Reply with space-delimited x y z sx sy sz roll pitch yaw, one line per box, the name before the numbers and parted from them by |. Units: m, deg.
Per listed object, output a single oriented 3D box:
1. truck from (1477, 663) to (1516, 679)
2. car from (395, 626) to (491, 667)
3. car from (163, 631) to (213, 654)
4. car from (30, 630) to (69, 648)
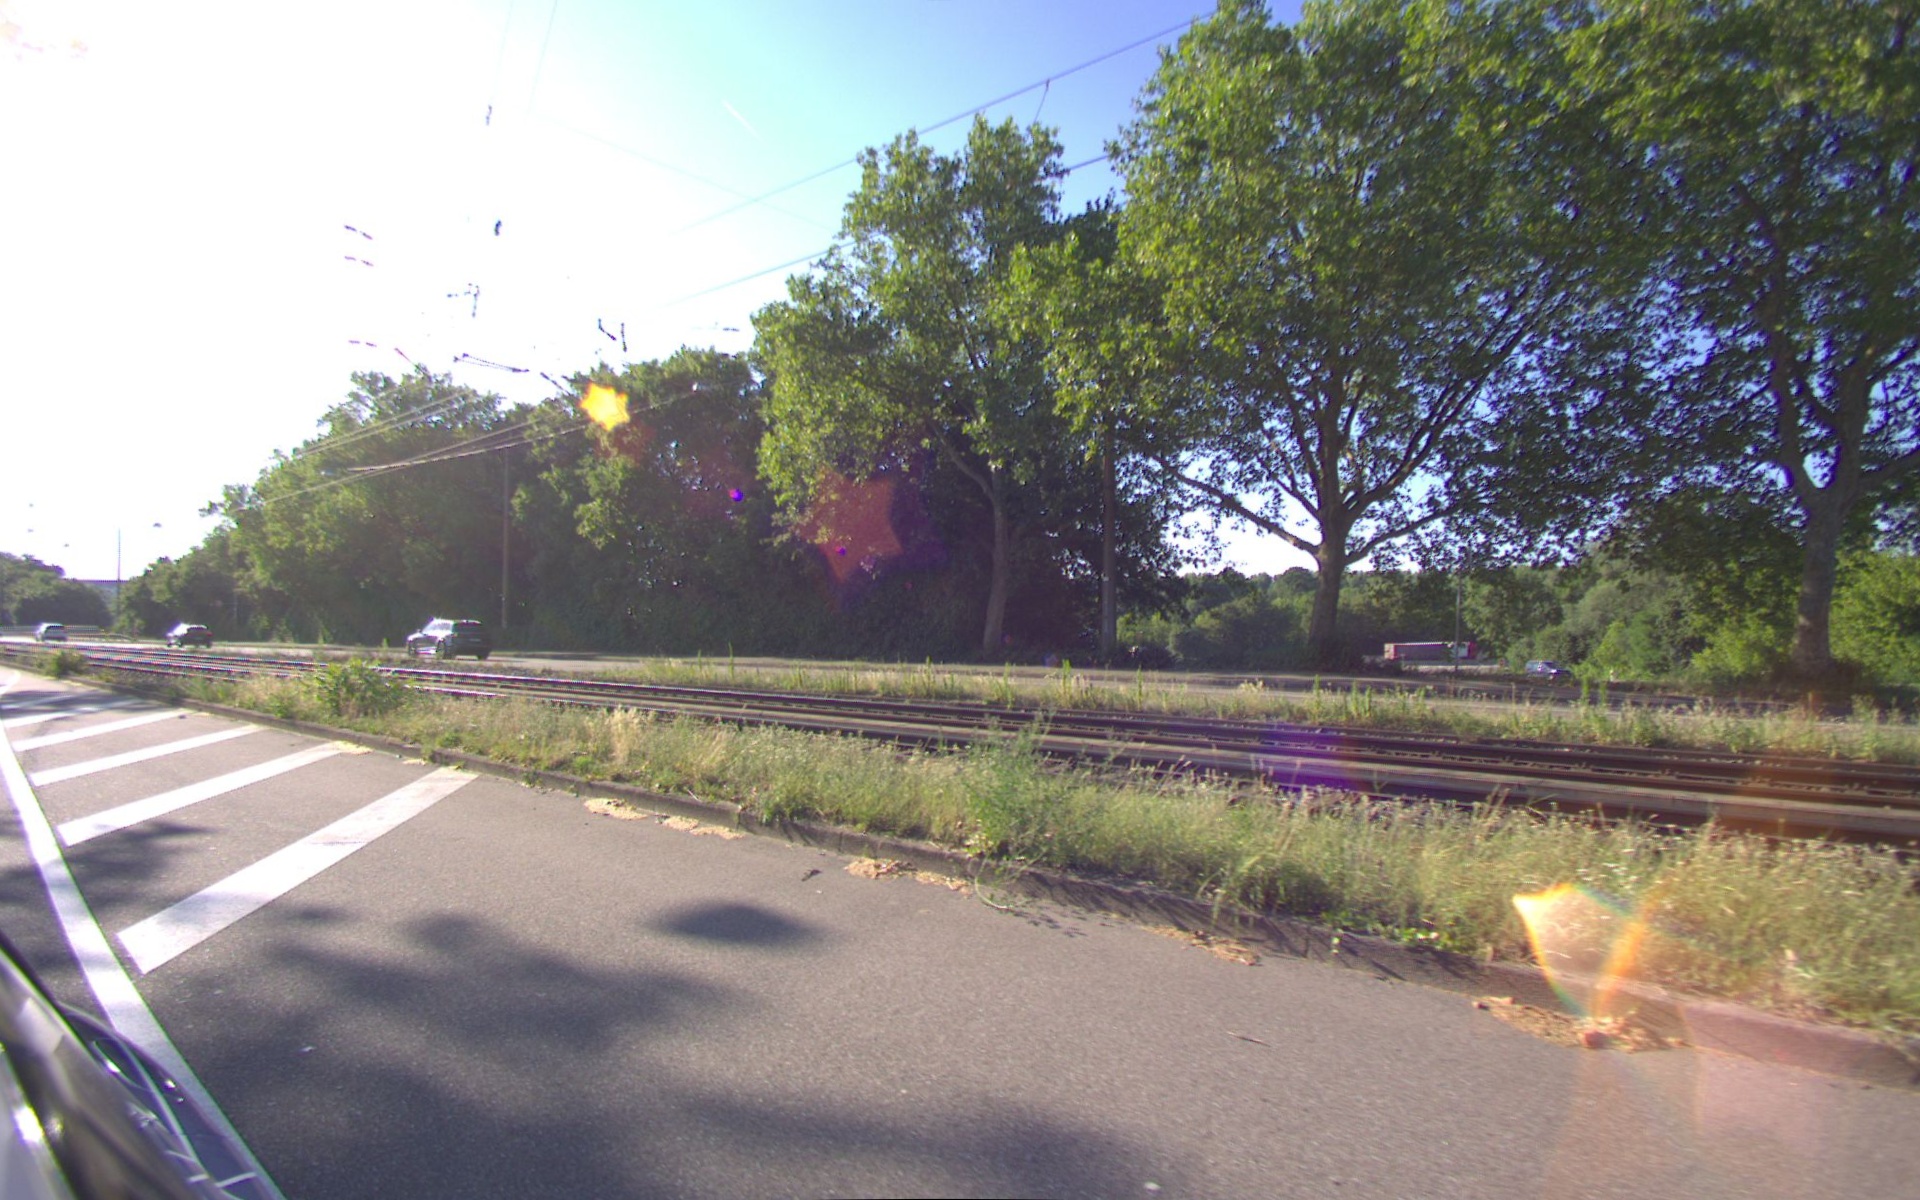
truck | 56.686 7.473 107.006 1.634 1.537 4.130 4 -3 -4
car | -22.692 2.030 44.366 4.935 1.707 1.880 -1 -4 39
car | -52.217 2.874 68.440 4.343 1.479 1.694 -2 -4 39
car | -89.245 3.823 99.163 4.938 1.720 1.943 -1 -4 38
